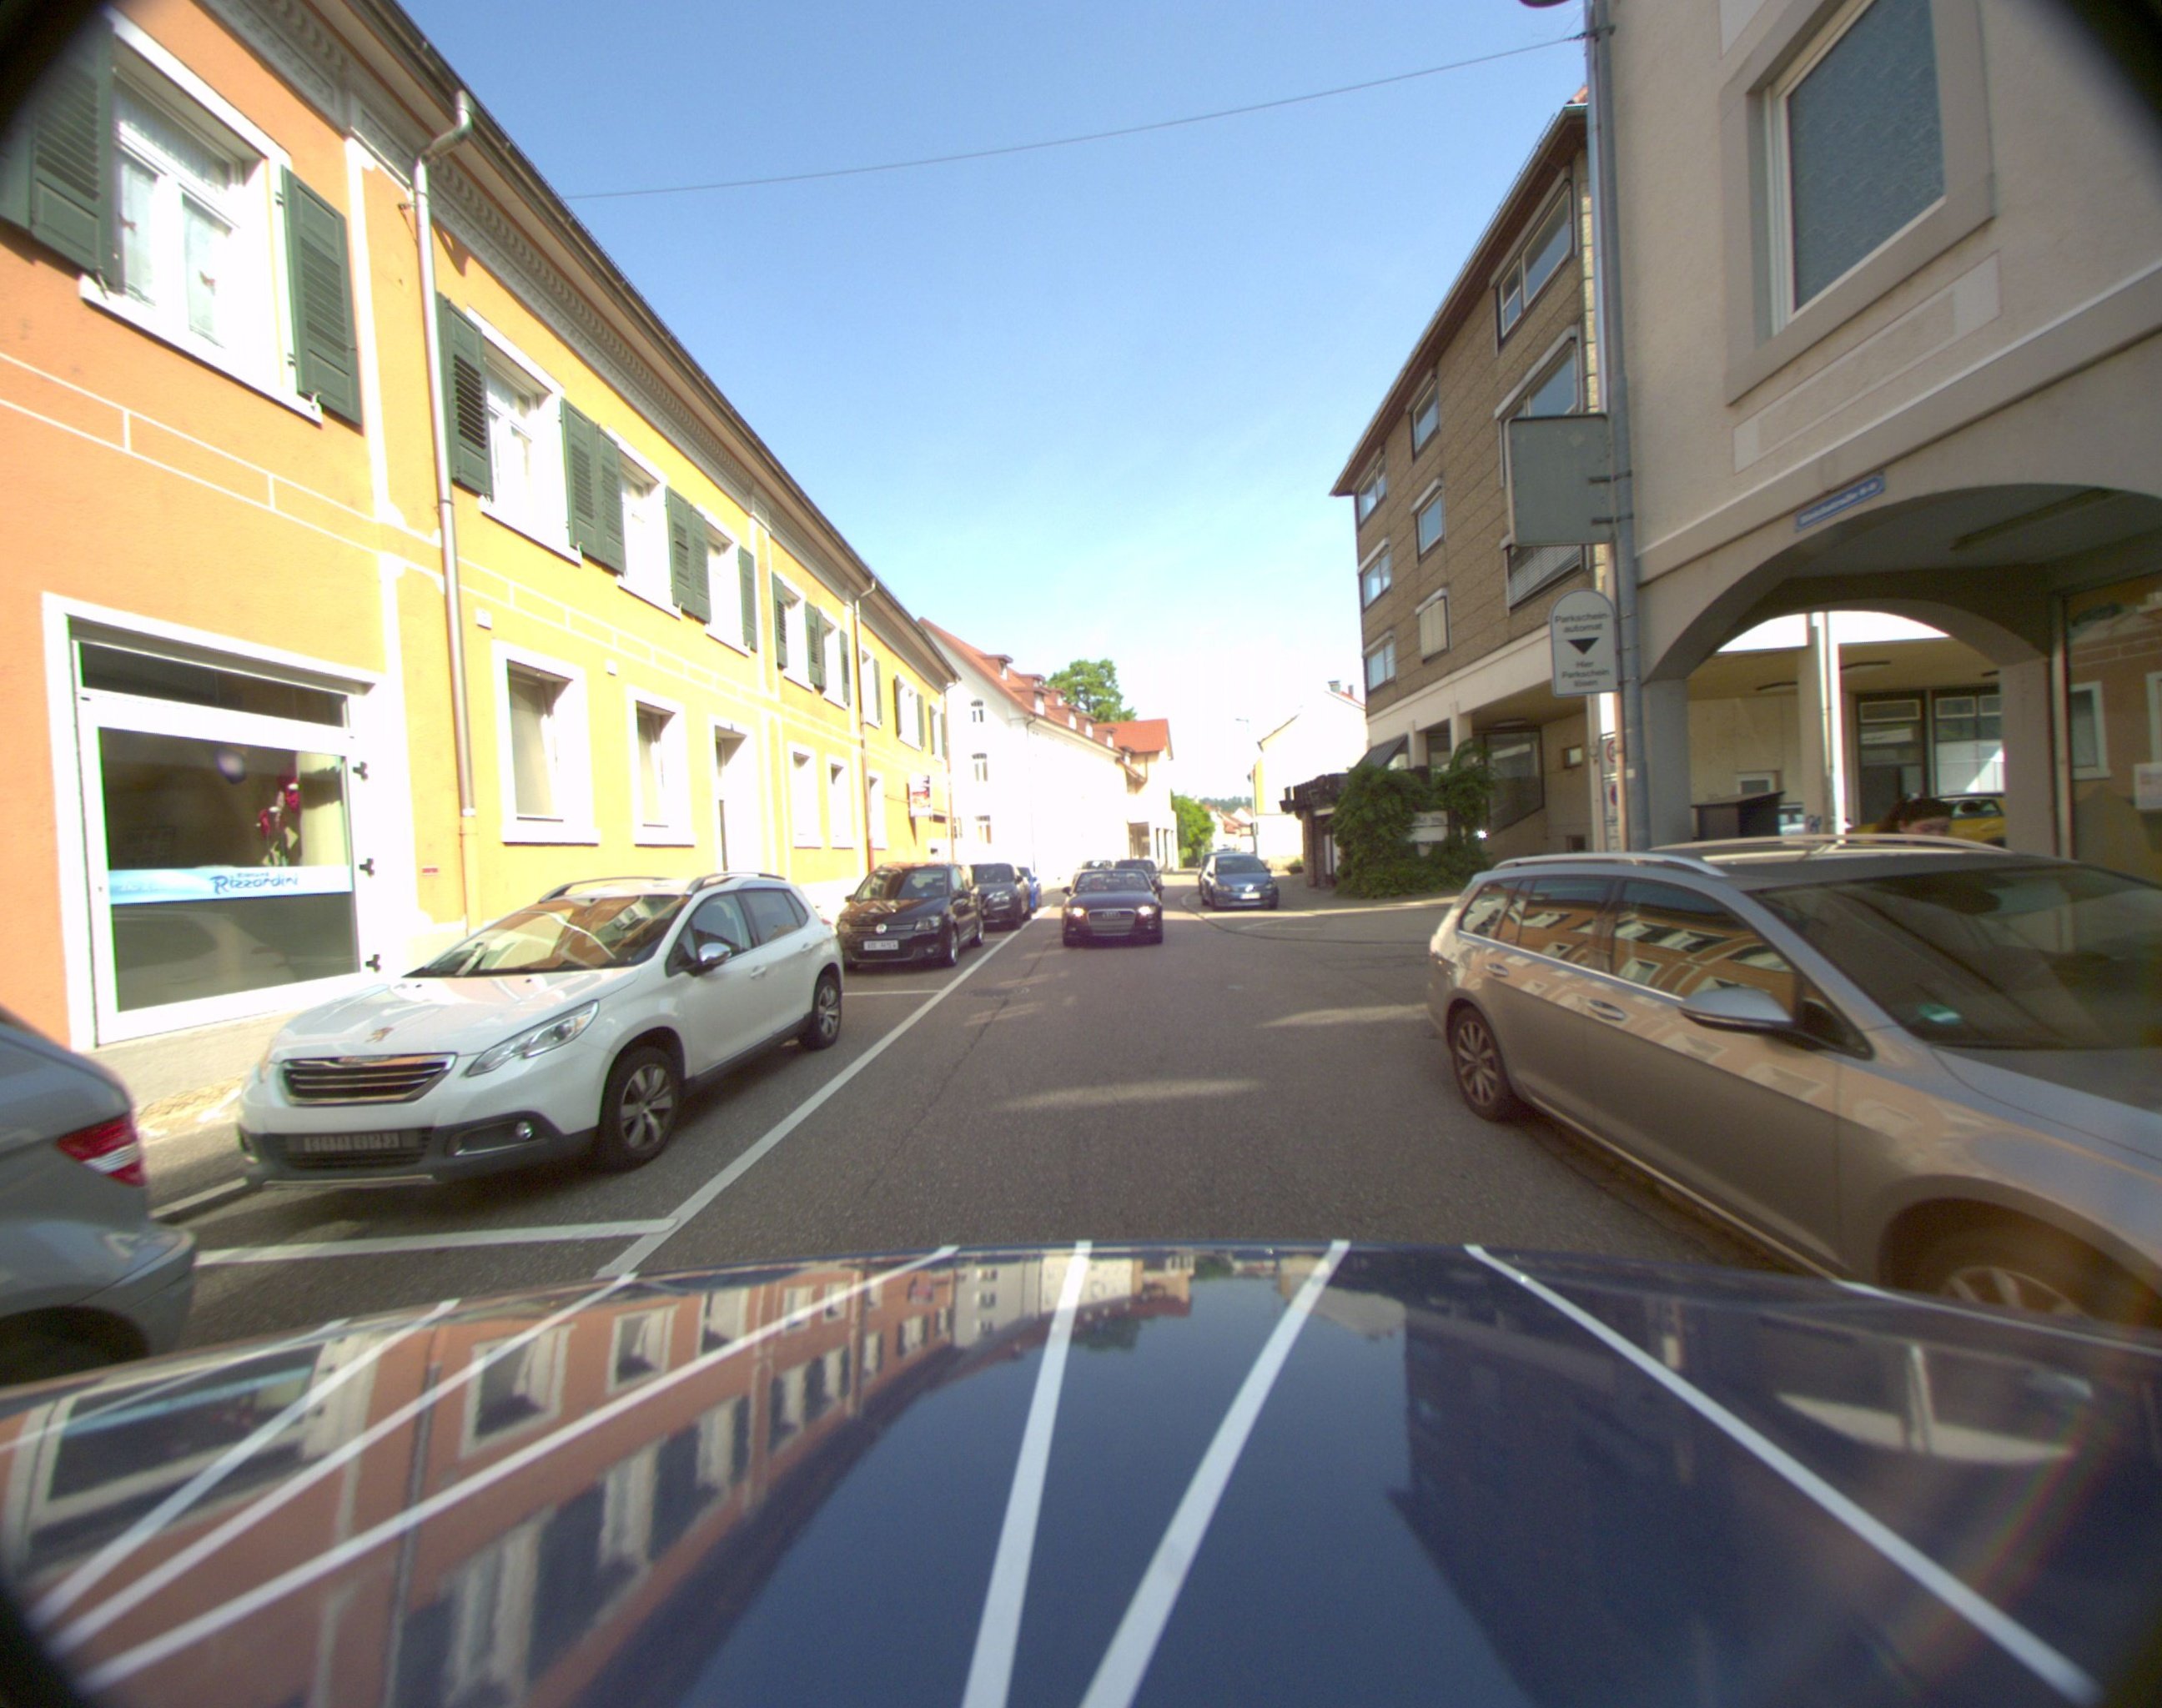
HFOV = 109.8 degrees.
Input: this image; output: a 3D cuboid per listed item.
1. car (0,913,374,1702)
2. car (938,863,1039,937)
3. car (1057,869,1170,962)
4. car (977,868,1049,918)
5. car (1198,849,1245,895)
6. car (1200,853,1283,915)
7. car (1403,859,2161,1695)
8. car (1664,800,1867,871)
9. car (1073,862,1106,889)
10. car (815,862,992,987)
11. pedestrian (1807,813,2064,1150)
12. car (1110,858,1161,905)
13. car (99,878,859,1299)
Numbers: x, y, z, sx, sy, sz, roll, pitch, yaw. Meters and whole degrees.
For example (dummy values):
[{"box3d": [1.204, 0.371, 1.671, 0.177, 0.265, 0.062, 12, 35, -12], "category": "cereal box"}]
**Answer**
[{"box3d": [-3.190, 1.020, 0.114, 1.749, 1.587, 4.594, -3, 0, 1], "category": "car"}, {"box3d": [-2.114, 1.028, 18.563, 1.682, 1.531, 4.187, -1, 0, 3], "category": "car"}, {"box3d": [0.633, 1.011, 14.104, 1.754, 1.348, 4.201, -1, 0, 3], "category": "car"}, {"box3d": [-2.071, 1.181, 24.162, 1.682, 1.311, 3.696, -3, 0, 3], "category": "car"}, {"box3d": [5.723, 0.679, 30.741, 1.681, 1.658, 3.974, -2, 0, 11], "category": "car"}, {"box3d": [4.522, 0.794, 21.932, 1.769, 1.551, 3.972, -2, 0, 4], "category": "car"}, {"box3d": [2.964, 0.809, 2.765, 1.807, 1.461, 4.456, -3, 0, 3], "category": "car"}, {"box3d": [16.632, -0.436, 18.610, 3.255, 1.477, 1.695, -3, 0, 8], "category": "car"}, {"box3d": [0.501, 1.080, 39.434, 1.527, 1.236, 4.035, -2, 0, 3], "category": "car"}, {"box3d": [-2.705, 1.002, 12.611, 1.682, 1.636, 4.252, -1, 0, 3], "category": "car"}, {"box3d": [4.260, 0.594, 3.835, 0.534, 1.542, 0.623, -3, 0, 2], "category": "pedestrian"}, {"box3d": [2.003, 0.974, 28.250, 1.682, 1.551, 3.972, -2, 0, 3], "category": "car"}, {"box3d": [-3.099, 1.047, 5.182, 1.682, 1.549, 4.104, -3, 0, 3], "category": "car"}]
